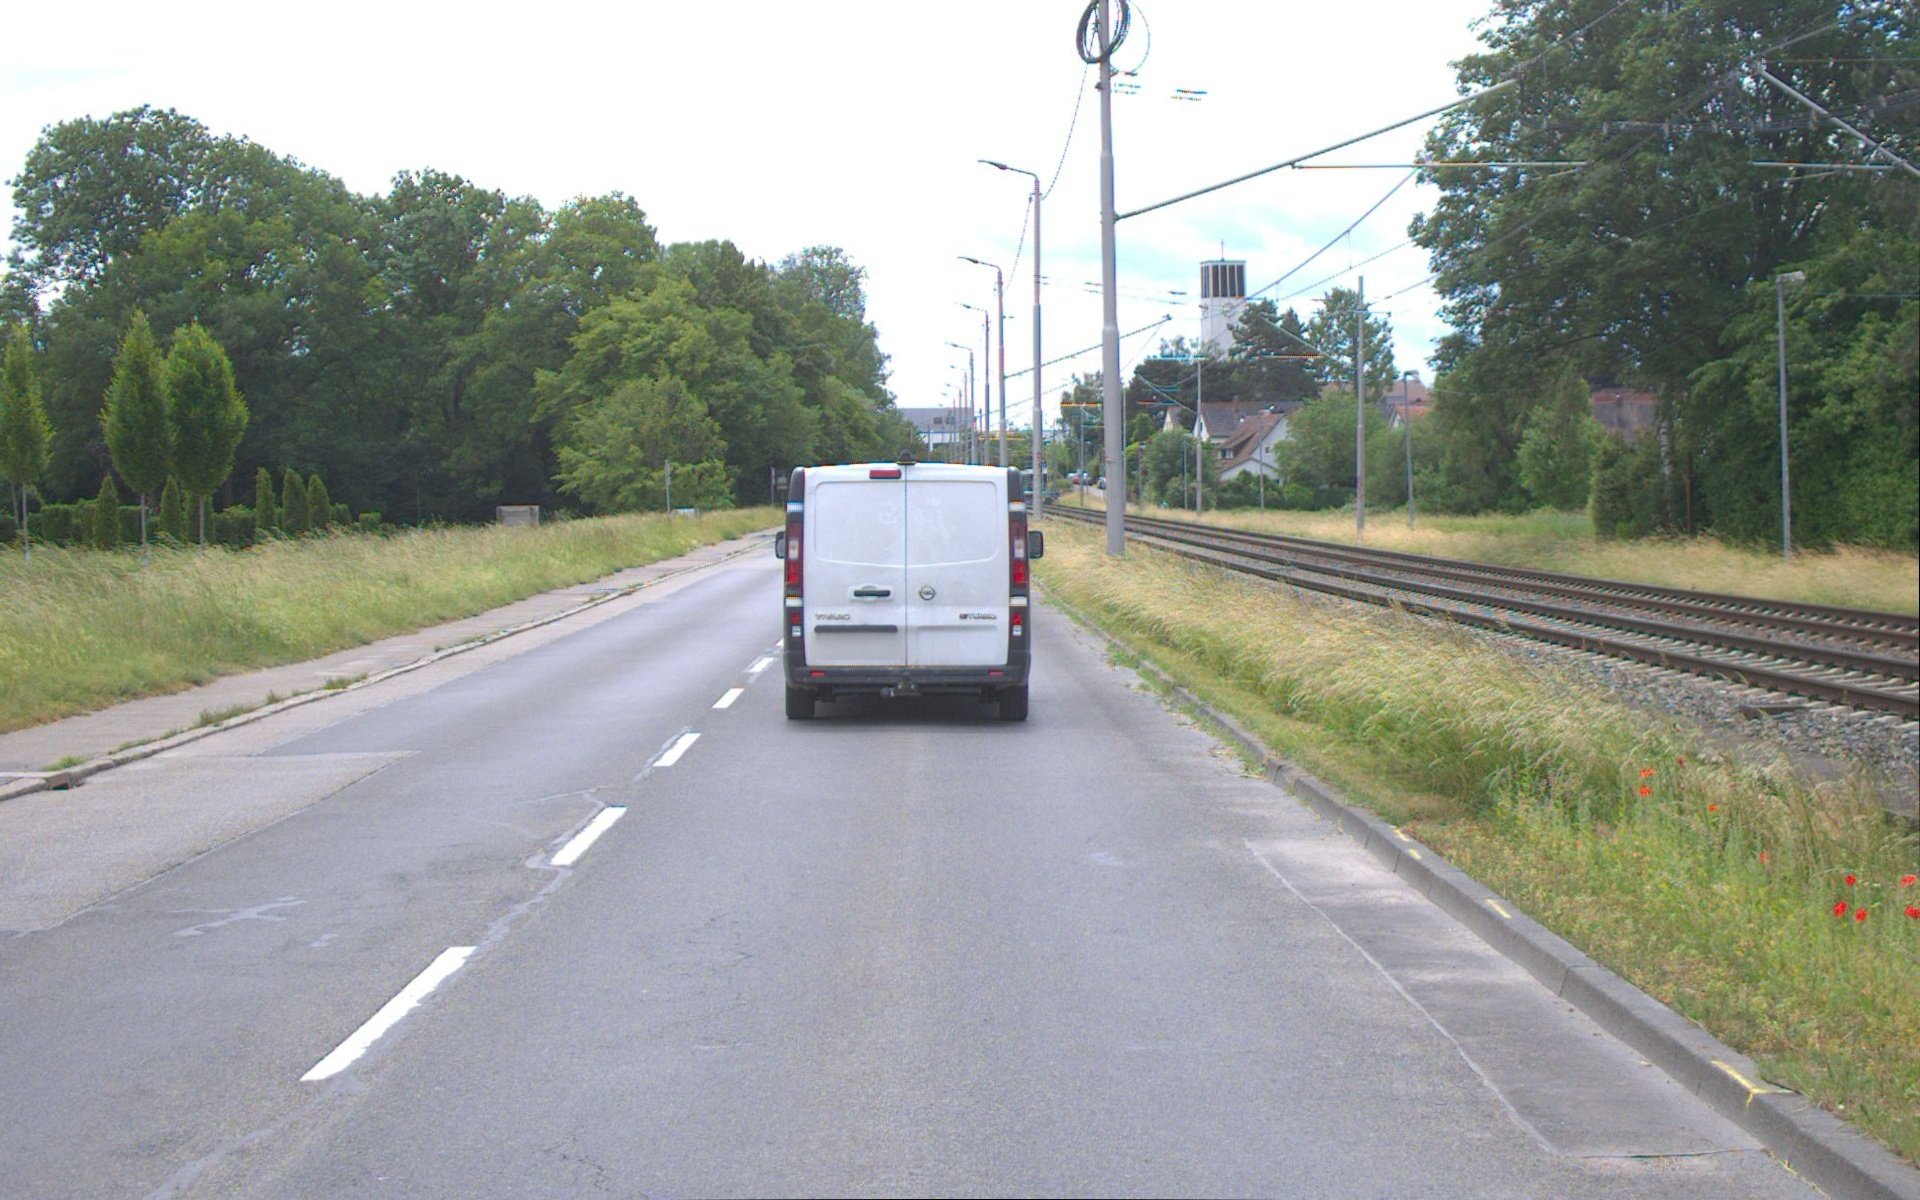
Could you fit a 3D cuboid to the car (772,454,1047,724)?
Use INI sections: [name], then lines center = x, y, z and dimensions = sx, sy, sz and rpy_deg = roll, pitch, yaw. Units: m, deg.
[car]
center = -0.424, -0.123, 27.128
dimensions = 1.993, 1.950, 4.001
rpy_deg = 1, 1, -2
